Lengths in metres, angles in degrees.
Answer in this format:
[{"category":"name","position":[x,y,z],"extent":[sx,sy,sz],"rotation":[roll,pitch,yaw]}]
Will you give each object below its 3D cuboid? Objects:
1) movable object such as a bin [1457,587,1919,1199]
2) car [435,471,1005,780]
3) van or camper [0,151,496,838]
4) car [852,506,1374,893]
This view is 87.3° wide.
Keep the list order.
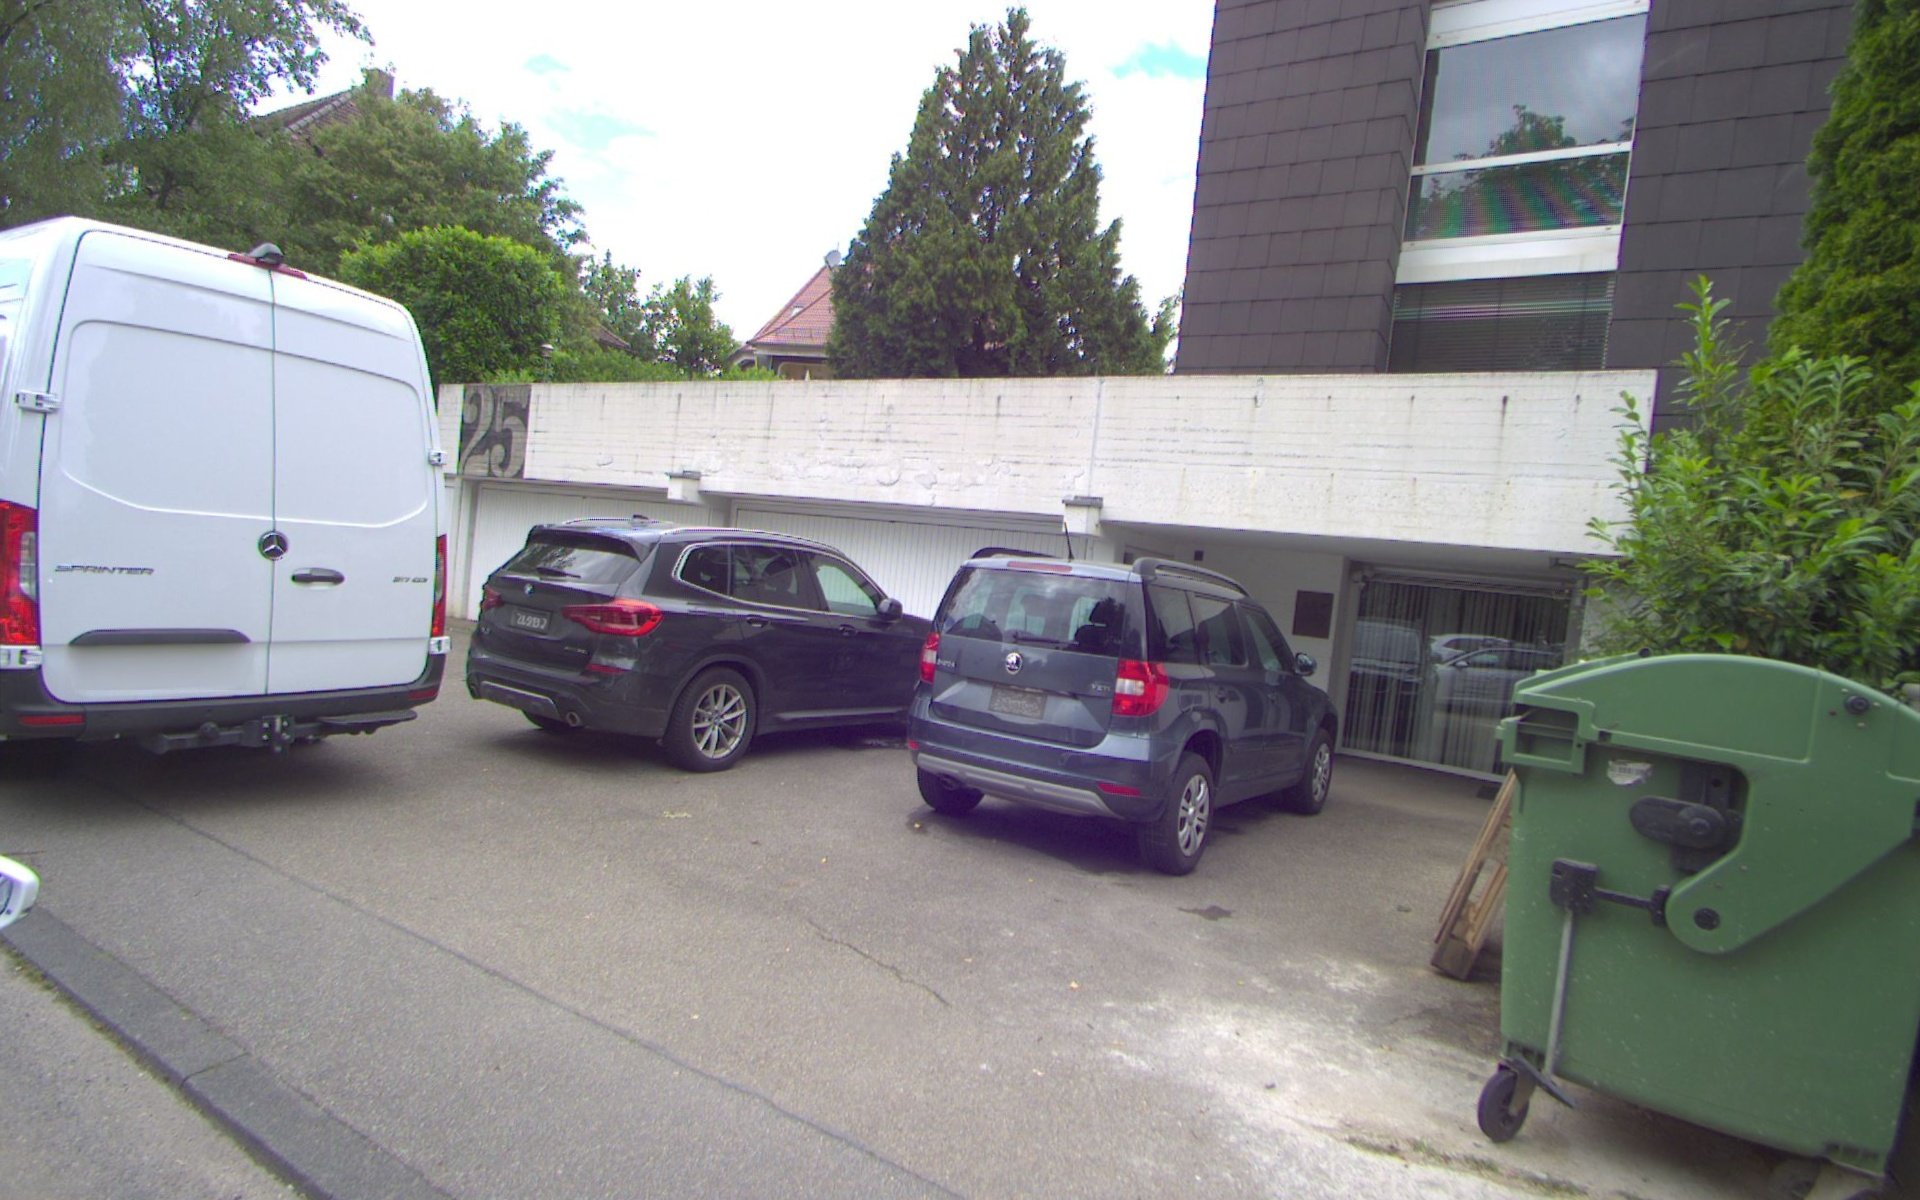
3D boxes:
[{"category":"movable object such as a bin","position":[2.145,0.813,2.890],"extent":[1.016,1.550,1.034],"rotation":[7,1,33]},{"category":"car","position":[-1.569,0.220,8.179],"extent":[1.710,1.772,4.419],"rotation":[7,1,33]},{"category":"van or camper","position":[-5.913,-0.641,6.404],"extent":[6.432,2.653,1.995],"rotation":[7,1,32]},{"category":"car","position":[1.327,0.547,6.897],"extent":[1.804,1.772,3.973],"rotation":[7,1,35]}]
